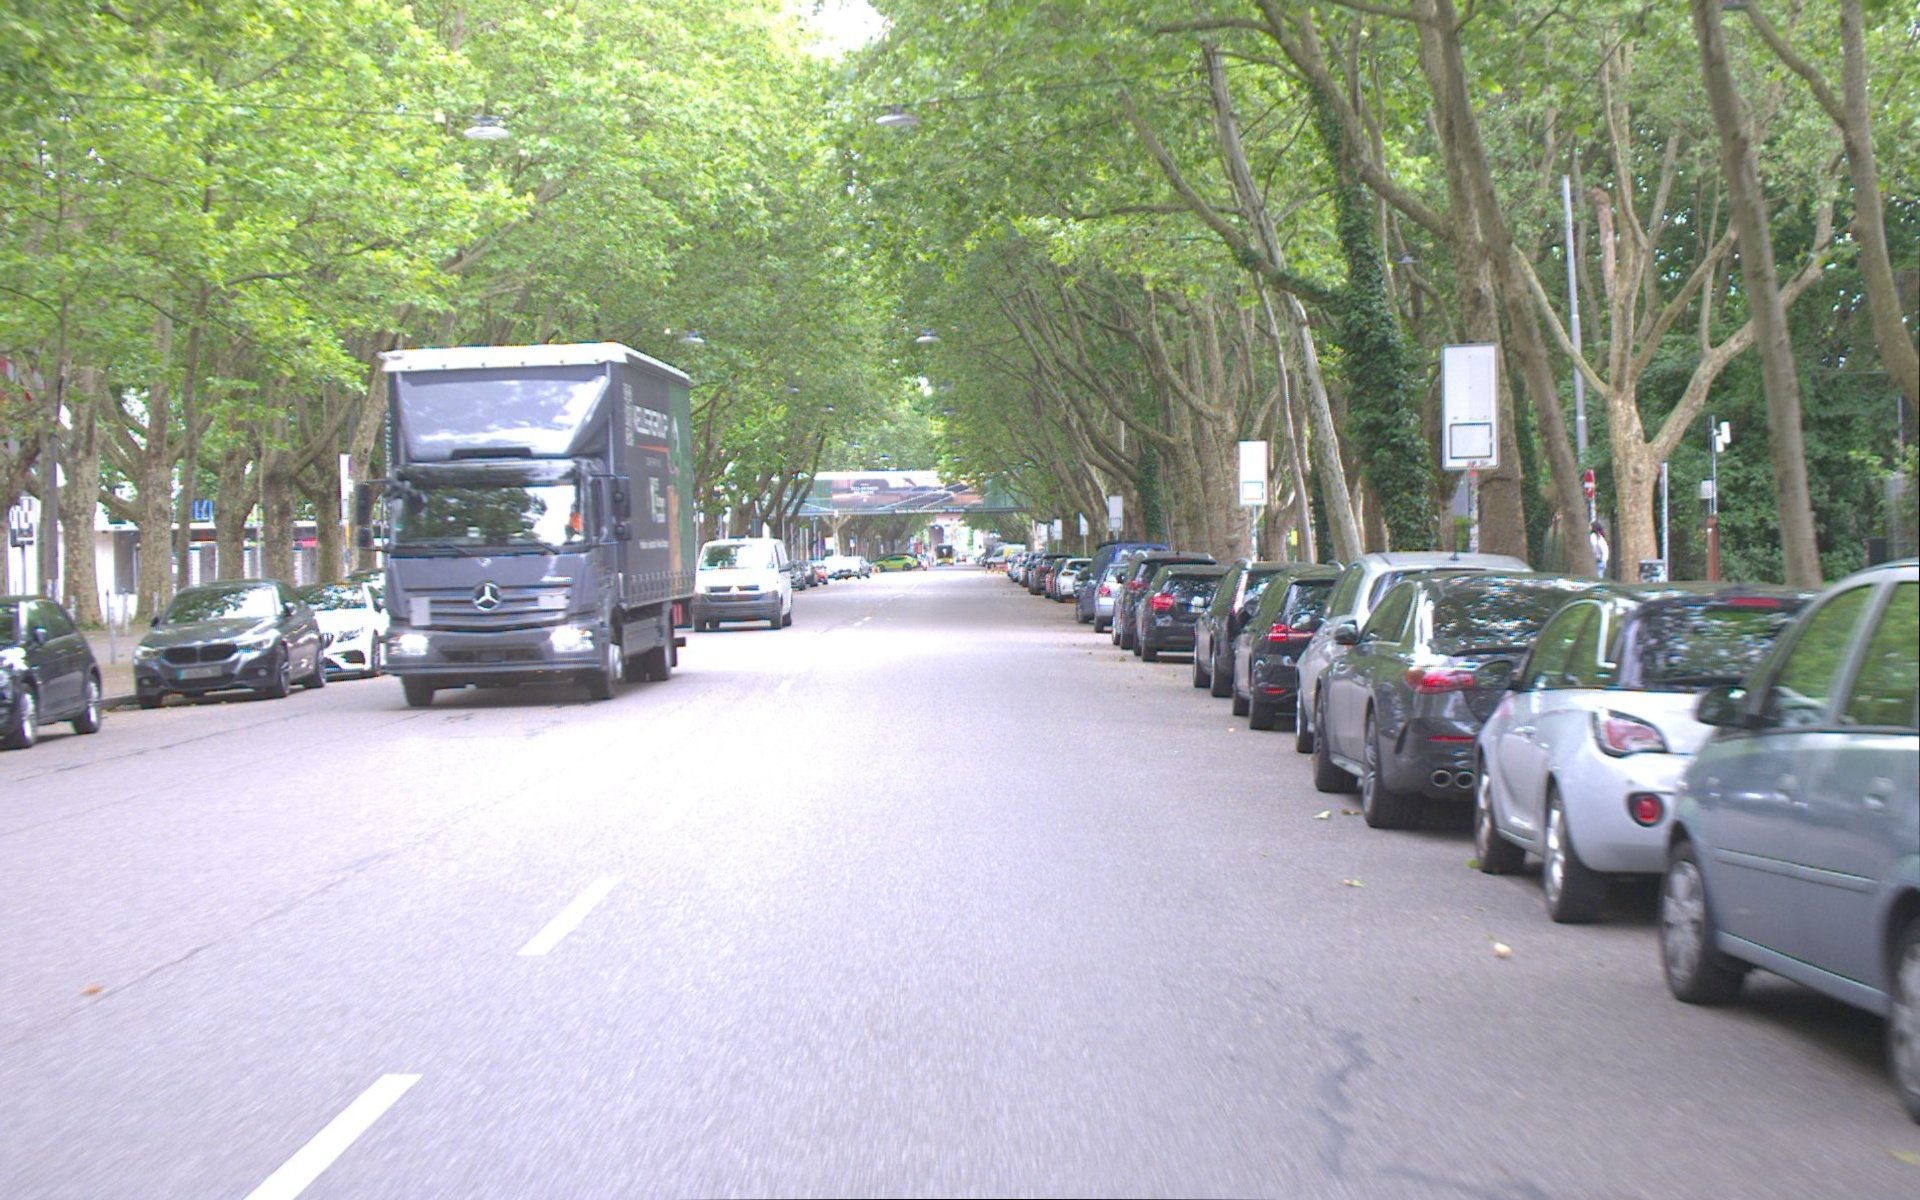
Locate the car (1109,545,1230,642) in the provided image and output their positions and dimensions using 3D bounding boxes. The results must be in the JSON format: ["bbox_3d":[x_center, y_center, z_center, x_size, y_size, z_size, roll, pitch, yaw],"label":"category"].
[{"bbox_3d":[3.450,-0.136,57.165,1.756,1.529,3.929,-1,1,0],"label":"car"}]

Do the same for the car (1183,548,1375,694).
[{"bbox_3d":[3.572,0.209,39.064,1.756,1.529,3.929,2,0,0],"label":"car"}]

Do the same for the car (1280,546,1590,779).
[{"bbox_3d":[3.520,0.423,26.130,1.756,1.591,3.929,2,1,0],"label":"car"}]

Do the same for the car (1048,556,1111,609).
[{"bbox_3d":[3.707,-0.553,107.154,1.756,1.529,3.929,-3,0,0],"label":"car"}]

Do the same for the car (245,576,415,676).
[{"bbox_3d":[-9.102,0.392,49.908,1.732,1.328,4.000,-2,-1,-1],"label":"car"}]

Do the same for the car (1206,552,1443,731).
[{"bbox_3d":[3.356,0.347,32.290,1.756,1.529,3.929,2,0,0],"label":"car"}]

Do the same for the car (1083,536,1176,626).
[{"bbox_3d":[3.816,-0.465,78.084,1.756,1.809,3.929,-5,2,0],"label":"car"}]

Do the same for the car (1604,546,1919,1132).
[{"bbox_3d":[3.389,0.661,10.882,1.719,1.562,4.095,3,0,-2],"label":"car"}]

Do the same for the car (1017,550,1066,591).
[{"bbox_3d":[3.180,-1.135,134.183,1.756,1.529,3.929,2,0,0],"label":"car"}]

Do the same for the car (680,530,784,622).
[{"bbox_3d":[-4.884,-0.534,74.061,1.980,1.927,4.113,0,1,0],"label":"car"}]

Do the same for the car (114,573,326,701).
[{"bbox_3d":[-9.141,0.450,42.728,1.765,1.414,3.761,-4,0,0],"label":"car"}]

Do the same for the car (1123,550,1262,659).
[{"bbox_3d":[3.423,0.048,51.276,1.756,1.529,3.929,2,0,0],"label":"car"}]

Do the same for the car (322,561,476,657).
[{"bbox_3d":[-9.025,0.169,55.621,1.895,1.433,4.000,-2,-1,-2],"label":"car"}]

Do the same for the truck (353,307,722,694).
[{"bbox_3d":[-4.681,-1.070,40.173,2.641,3.888,9.540,-2,0,2],"label":"truck"}]

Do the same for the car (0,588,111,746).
[{"bbox_3d":[-9.449,0.662,32.668,1.765,1.414,3.761,-4,0,0],"label":"car"}]

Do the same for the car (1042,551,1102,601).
[{"bbox_3d":[3.655,-0.787,112.417,1.756,1.529,3.929,-2,0,0],"label":"car"}]

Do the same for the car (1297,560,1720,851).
[{"bbox_3d":[3.177,0.549,20.761,1.756,1.485,4.417,3,0,0],"label":"car"}]

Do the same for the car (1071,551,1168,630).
[{"bbox_3d":[3.265,-0.206,70.891,1.756,1.529,3.929,2,0,0],"label":"car"}]

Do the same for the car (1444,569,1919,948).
[{"bbox_3d":[3.336,0.640,16.019,1.675,1.485,3.686,3,0,2],"label":"car"}]
